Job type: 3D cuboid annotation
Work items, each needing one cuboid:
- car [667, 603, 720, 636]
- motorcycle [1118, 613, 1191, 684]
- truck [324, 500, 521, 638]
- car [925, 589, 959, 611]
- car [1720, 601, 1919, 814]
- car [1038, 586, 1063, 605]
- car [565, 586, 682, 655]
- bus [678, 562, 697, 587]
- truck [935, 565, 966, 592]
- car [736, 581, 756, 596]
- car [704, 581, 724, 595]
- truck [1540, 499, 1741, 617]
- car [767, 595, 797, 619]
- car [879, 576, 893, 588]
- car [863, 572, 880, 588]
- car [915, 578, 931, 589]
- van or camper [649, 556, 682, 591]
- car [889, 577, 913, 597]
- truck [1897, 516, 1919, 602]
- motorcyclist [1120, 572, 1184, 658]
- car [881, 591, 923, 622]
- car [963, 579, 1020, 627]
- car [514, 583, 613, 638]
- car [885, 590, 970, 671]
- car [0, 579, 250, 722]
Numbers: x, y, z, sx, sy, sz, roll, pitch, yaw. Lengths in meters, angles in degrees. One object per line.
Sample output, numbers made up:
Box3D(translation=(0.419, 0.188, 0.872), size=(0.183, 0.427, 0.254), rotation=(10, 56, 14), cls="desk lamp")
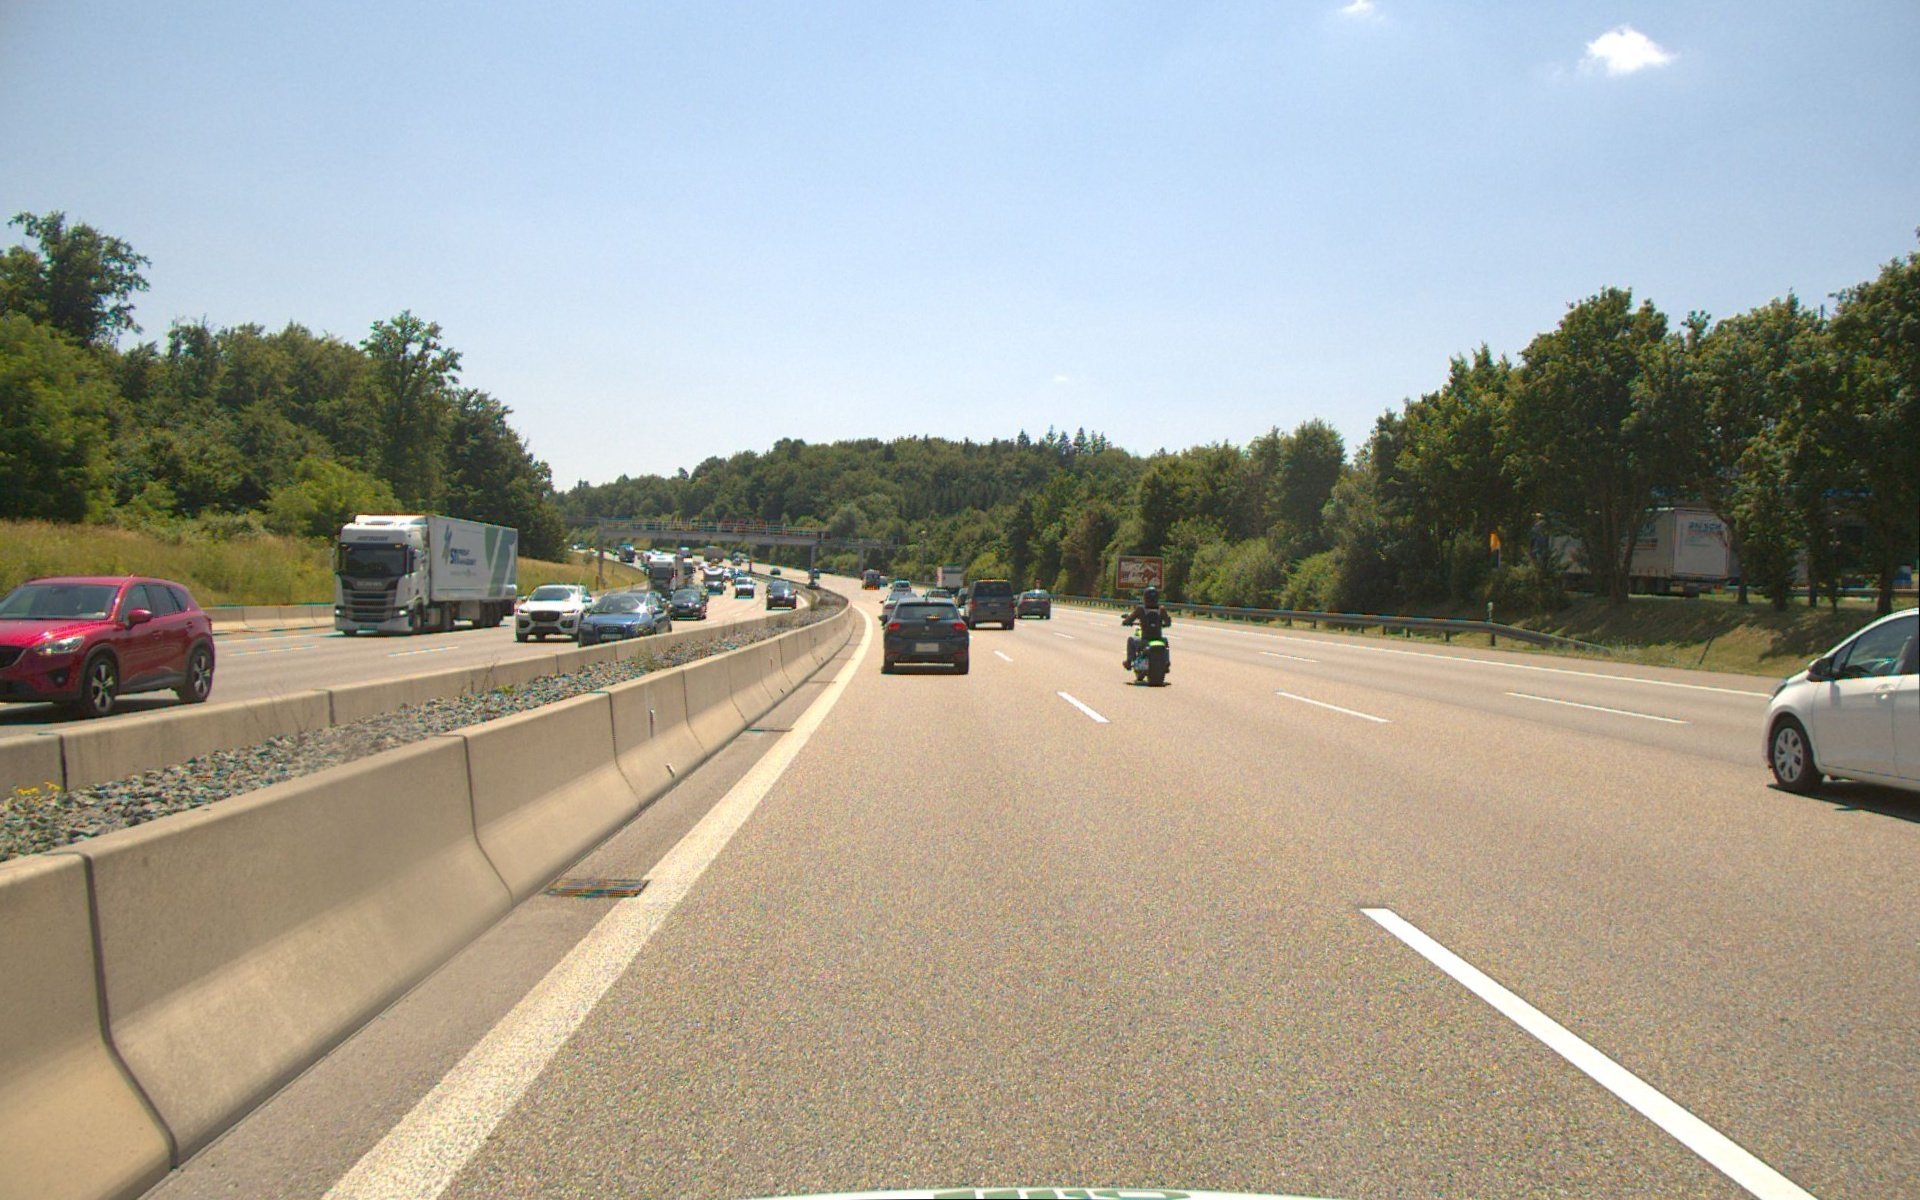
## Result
Box3D(translation=(-13.504, 0.974, 84.045), size=(1.984, 1.575, 4.879), rotation=(0, 0, -2), cls="car")
Box3D(translation=(3.334, 0.811, 28.604), size=(0.957, 1.149, 2.270), rotation=(1, 0, -1), cls="motorcycle")
Box3D(translation=(-19.559, -1.045, 61.714), size=(2.842, 4.427, 16.545), rotation=(1, 0, -3), cls="truck")
Box3D(translation=(-1.228, 0.001, 109.287), size=(1.807, 1.243, 4.219), rotation=(3, 1, -6), cls="car")
Box3D(translation=(7.427, 0.759, 12.059), size=(1.632, 1.458, 4.374), rotation=(1, 0, -2), cls="car")
Box3D(translation=(6.213, -0.292, 113.851), size=(1.575, 1.234, 3.460), rotation=(1, -2, 2), cls="car")
Box3D(translation=(-8.069, 0.460, 40.093), size=(1.953, 1.575, 4.879), rotation=(0, 0, -2), cls="car")
Box3D(translation=(-34.073, -3.192, 206.721), size=(1.728, 2.887, 4.617), rotation=(3, 1, -4), cls="bus")
Box3D(translation=(-1.055, -2.348, 179.807), size=(2.675, 2.834, 5.675), rotation=(3, 1, -7), cls="truck")
Box3D(translation=(-21.290, -1.158, 164.556), size=(1.742, 1.392, 3.478), rotation=(3, 1, -6), cls="car")
Box3D(translation=(-27.296, -1.330, 183.429), size=(1.955, 1.377, 3.832), rotation=(3, 1, -6), cls="car")
Box3D(translation=(31.297, -1.794, 77.122), size=(3.258, 4.914, 14.697), rotation=(1, 0, 0), cls="truck")
Box3D(translation=(-12.085, 0.432, 112.233), size=(1.949, 1.575, 4.873), rotation=(0, 0, -7), cls="car")
Box3D(translation=(-11.063, -2.716, 248.293), size=(1.953, 1.601, 3.999), rotation=(3, 1, -1), cls="car")
Box3D(translation=(-12.086, -2.725, 226.670), size=(1.955, 2.048, 4.668), rotation=(3, 1, -6), cls="car")
Box3D(translation=(-5.438, -2.419, 243.034), size=(1.955, 1.601, 3.996), rotation=(3, 1, -5), cls="car")
Box3D(translation=(-26.792, -2.474, 150.626), size=(2.270, 2.819, 7.156), rotation=(3, 2, -6), cls="van or camper")
Box3D(translation=(-5.654, -1.231, 158.017), size=(1.955, 1.713, 4.418), rotation=(3, 1, -6), cls="car")
Box3D(translation=(42.173, -1.693, 66.232), size=(3.258, 3.627, 10.552), rotation=(1, 0, 0), cls="truck")
Box3D(translation=(3.320, 0.252, 28.671), size=(0.942, 1.463, 1.235), rotation=(1, 0, -1), cls="motorcyclist")
Box3D(translation=(-2.551, 0.269, 72.394), size=(1.747, 1.287, 3.458), rotation=(-1, 0, -3), cls="car")
Box3D(translation=(1.261, 0.110, 68.451), size=(2.055, 1.884, 4.079), rotation=(1, 0, -3), cls="car")
Box3D(translation=(-12.105, 0.299, 50.758), size=(1.953, 1.575, 4.880), rotation=(0, 0, -1), cls="car")
Box3D(translation=(-0.697, 0.587, 32.954), size=(1.592, 1.513, 3.683), rotation=(0, 0, -3), cls="car")
Box3D(translation=(-10.886, 0.557, 20.757), size=(1.953, 1.575, 4.879), rotation=(0, 0, -2), cls="car")
